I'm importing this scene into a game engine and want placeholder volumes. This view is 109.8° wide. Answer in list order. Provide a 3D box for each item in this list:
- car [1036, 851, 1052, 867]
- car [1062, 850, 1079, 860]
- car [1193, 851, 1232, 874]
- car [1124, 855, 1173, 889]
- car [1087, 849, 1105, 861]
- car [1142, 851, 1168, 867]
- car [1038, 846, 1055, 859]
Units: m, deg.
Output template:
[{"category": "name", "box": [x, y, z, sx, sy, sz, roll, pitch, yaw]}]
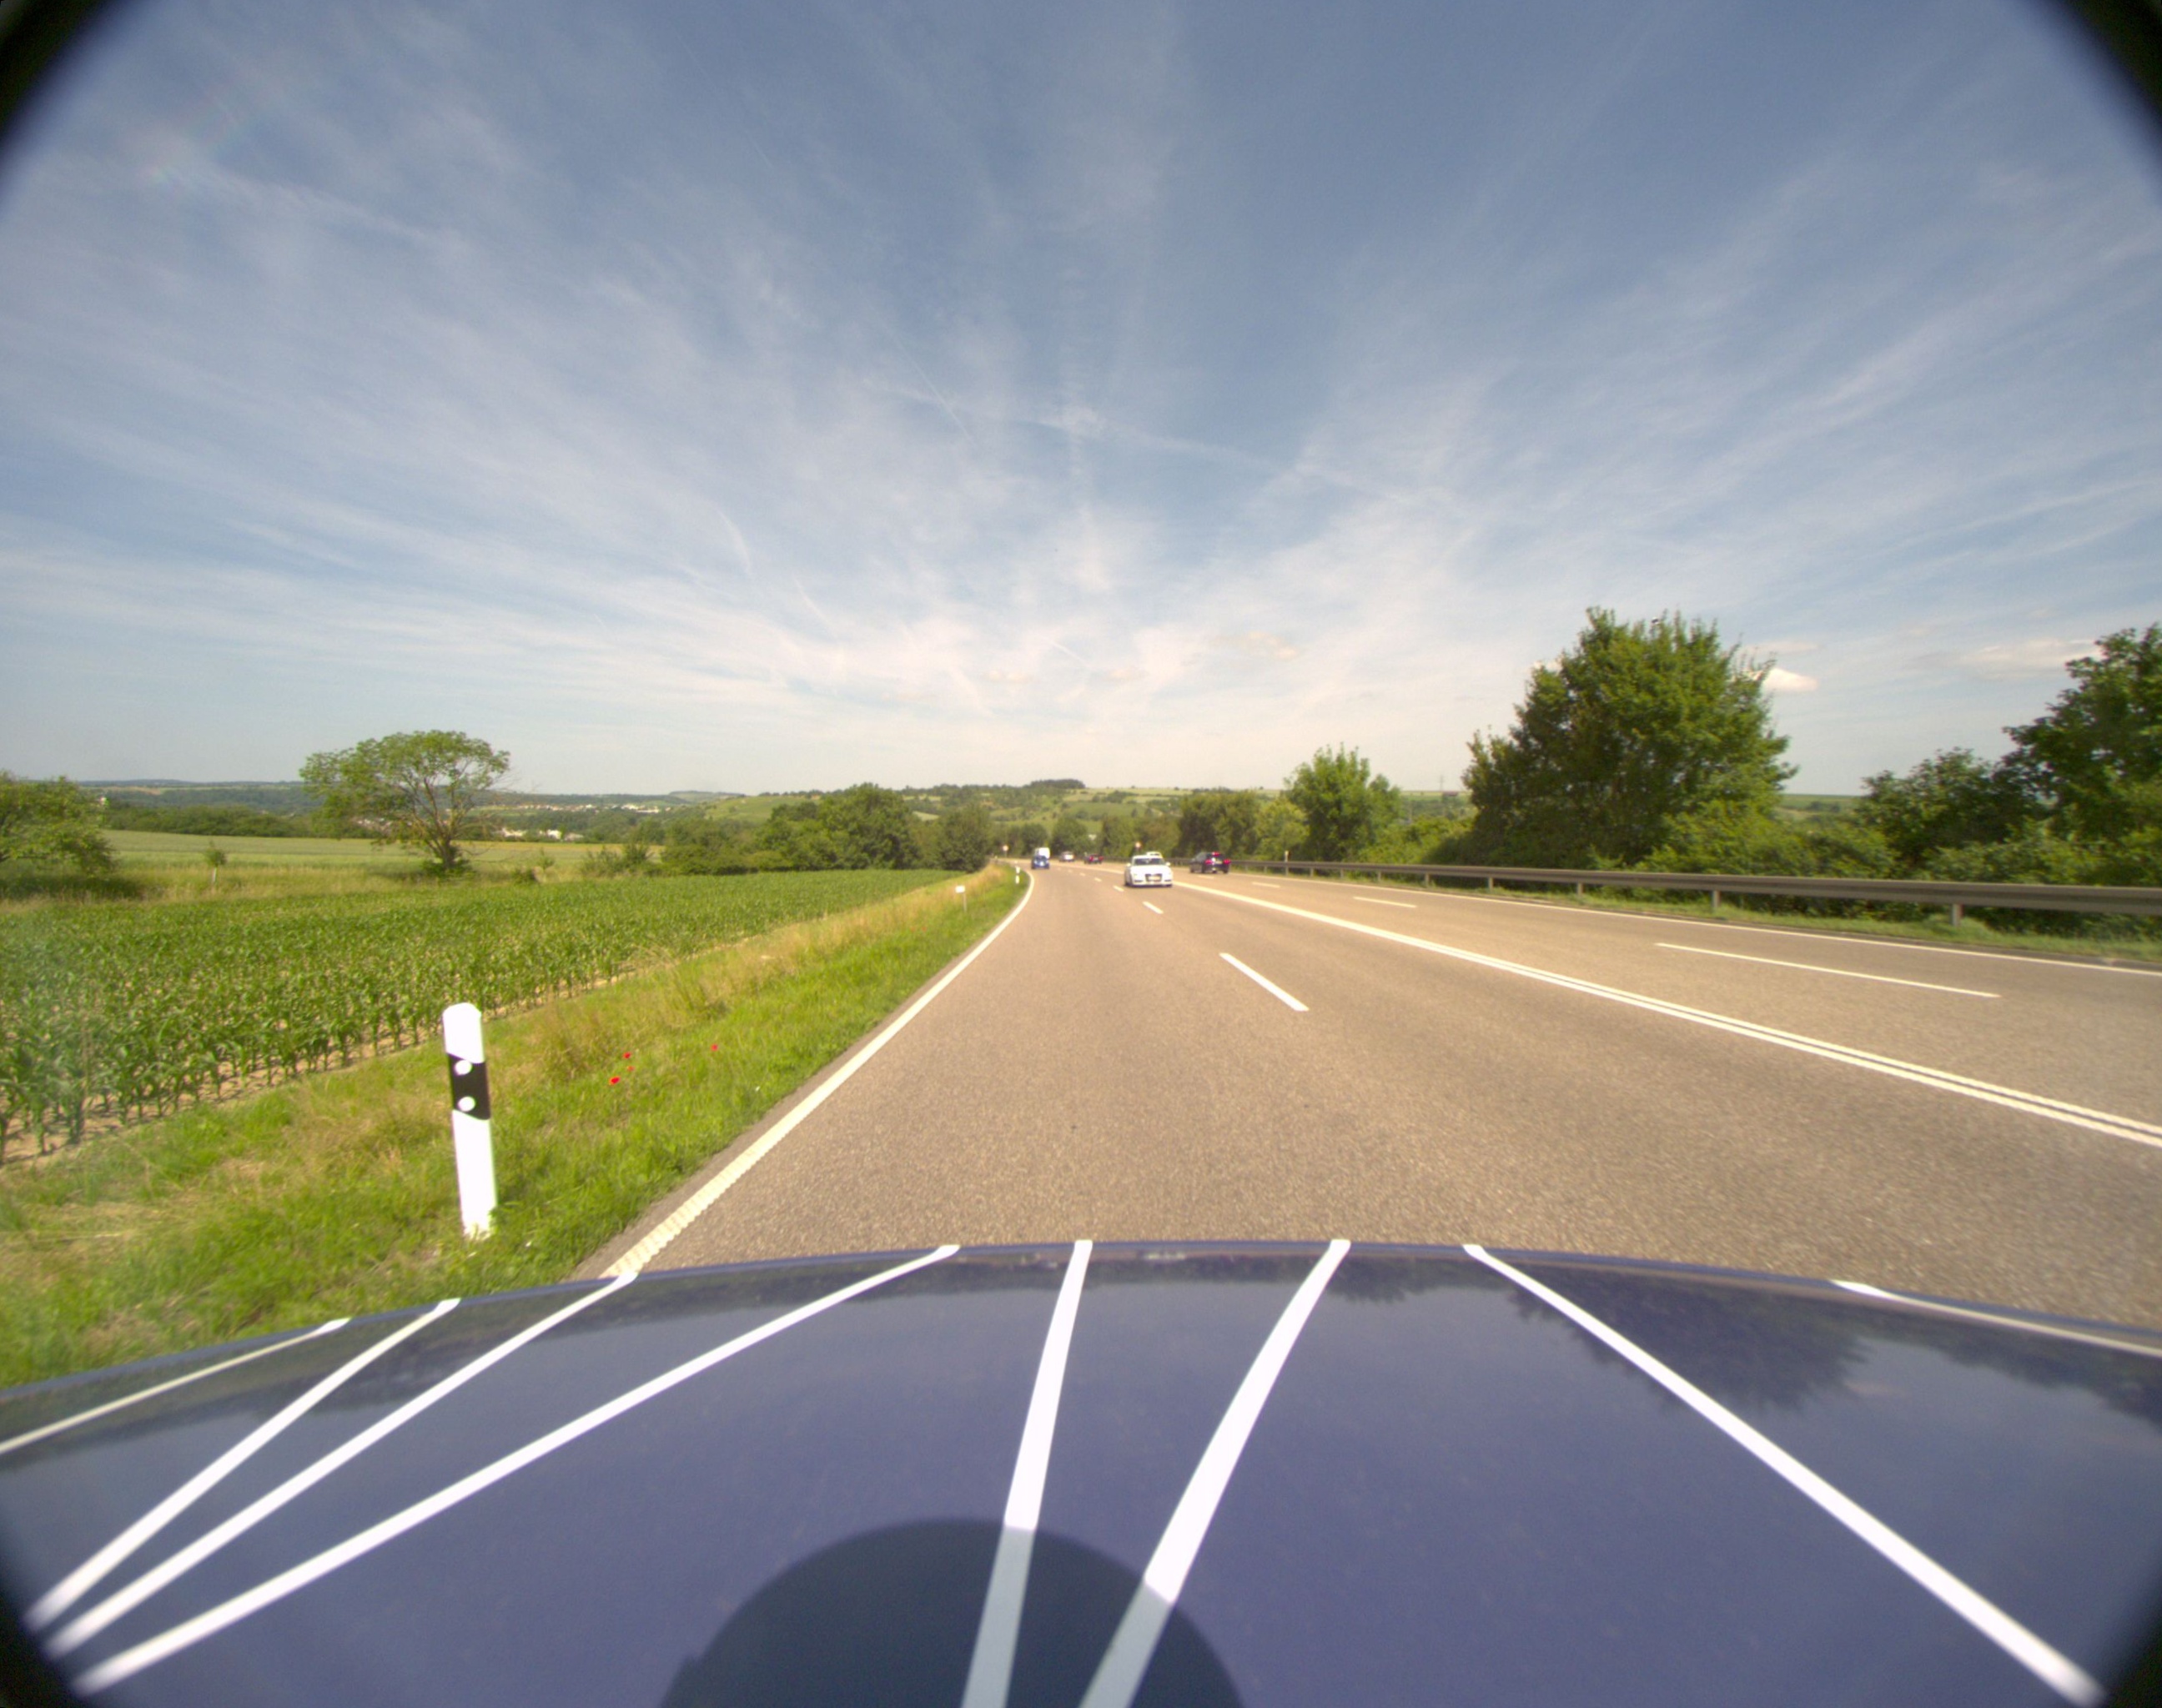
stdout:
[{"category": "car", "box": [-3.977, 0.541, 81.752, 1.636, 1.522, 3.913, -3, 1, -3]}, {"category": "car", "box": [-1.706, 0.136, 122.789, 1.819, 1.559, 4.679, -1, 0, -11]}, {"category": "car", "box": [8.990, 0.556, 52.214, 1.841, 1.447, 4.325, 0, 0, -2]}, {"category": "car", "box": [2.996, 0.760, 34.462, 1.708, 1.368, 4.602, -2, 0, -1]}, {"category": "car", "box": [2.043, 0.125, 104.744, 1.723, 1.453, 4.211, -2, 1, -9]}, {"category": "car", "box": [6.894, 0.419, 71.104, 1.662, 1.449, 3.732, -1, 1, -6]}, {"category": "car", "box": [-6.719, -0.324, 146.376, 2.096, 2.380, 5.838, -1, -1, -13]}]
